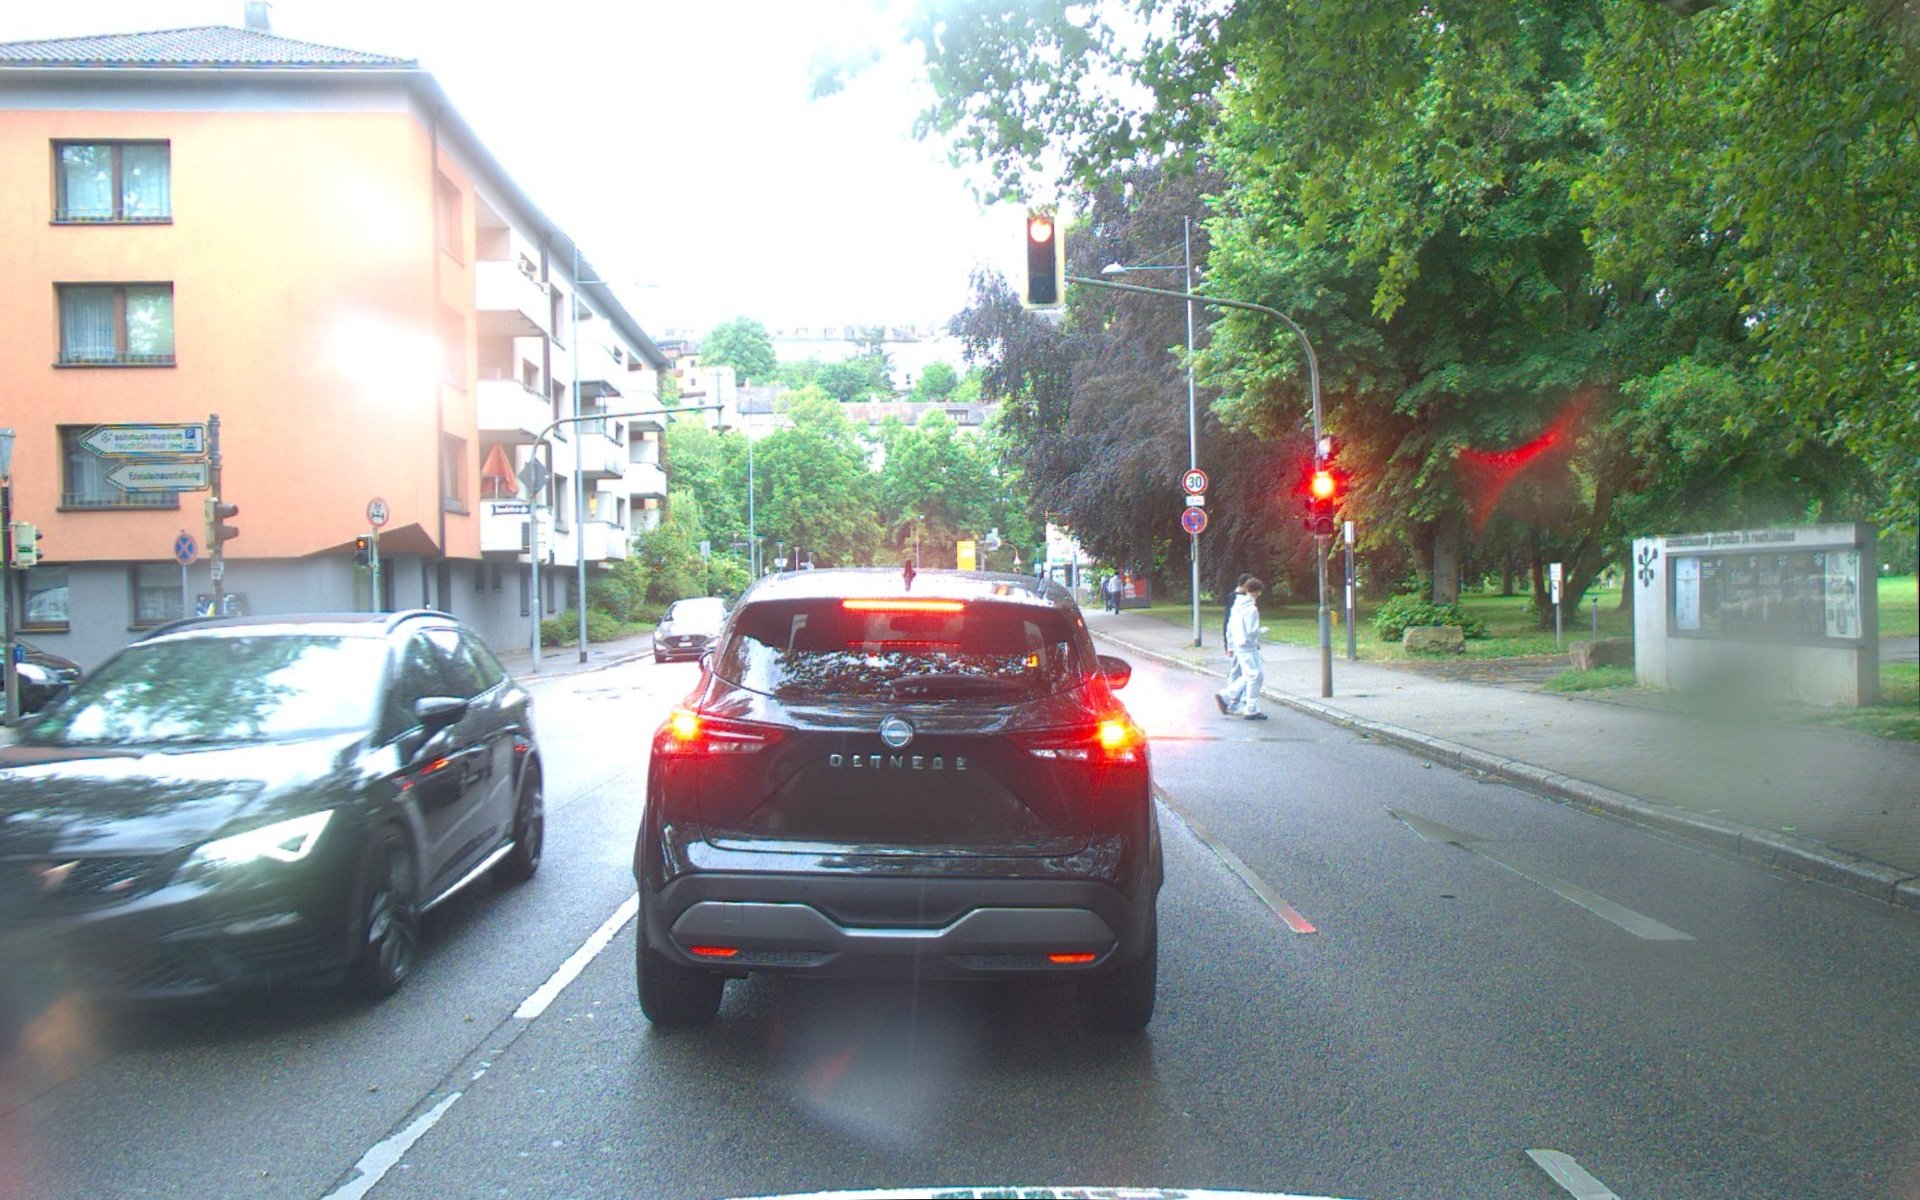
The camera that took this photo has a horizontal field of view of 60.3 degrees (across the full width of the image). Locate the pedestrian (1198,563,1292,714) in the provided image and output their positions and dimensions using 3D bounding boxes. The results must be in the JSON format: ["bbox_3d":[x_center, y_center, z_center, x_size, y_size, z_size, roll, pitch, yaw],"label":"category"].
[{"bbox_3d":[3.675,0.489,21.371,1.017,1.909,0.656,0,0,-11],"label":"pedestrian"}]

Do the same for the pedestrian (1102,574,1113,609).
[{"bbox_3d":[6.501,-0.375,72.800,0.382,1.528,0.559,-2,0,-1],"label":"pedestrian"}]

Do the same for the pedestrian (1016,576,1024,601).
[{"bbox_3d":[4.380,-0.841,121.484,0.498,1.833,0.619,-2,0,-1],"label":"pedestrian"}]

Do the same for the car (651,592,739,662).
[{"bbox_3d":[-6.468,0.628,40.742,1.760,1.560,3.864,-2,0,-4],"label":"car"}]

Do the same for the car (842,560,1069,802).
[{"bbox_3d":[-0.056,0.599,14.348,1.664,1.776,3.640,-2,0,-1],"label":"car"}]

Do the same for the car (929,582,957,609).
[{"bbox_3d":[-1.005,-0.275,98.626,1.601,1.559,3.967,-2,0,-1],"label":"car"}]

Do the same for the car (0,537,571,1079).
[{"bbox_3d":[-3.047,0.650,7.218,1.808,1.654,4.136,-2,0,-2],"label":"car"}]

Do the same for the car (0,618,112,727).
[{"bbox_3d":[-15.421,1.148,25.436,3.777,1.560,1.801,-2,0,-2],"label":"car"}]

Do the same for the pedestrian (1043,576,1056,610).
[{"bbox_3d":[4.889,-0.406,90.497,0.604,1.833,0.510,-2,0,5],"label":"pedestrian"}]

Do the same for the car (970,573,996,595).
[{"bbox_3d":[2.011,-1.381,144.056,1.952,1.765,4.002,1,0,4],"label":"car"}]

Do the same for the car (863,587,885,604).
[{"bbox_3d":[-8.359,-0.429,160.231,1.930,1.559,3.967,-2,0,-1],"label":"car"}]

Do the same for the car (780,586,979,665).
[{"bbox_3d":[-1.581,0.489,34.316,1.793,1.428,4.639,-2,0,32],"label":"car"}]

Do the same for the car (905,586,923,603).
[{"bbox_3d":[-4.328,-0.544,155.036,1.601,1.559,3.967,-2,0,-1],"label":"car"}]

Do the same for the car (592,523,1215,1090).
[{"bbox_3d":[-0.192,0.614,7.002,1.874,1.709,3.999,0,0,-1],"label":"car"}]

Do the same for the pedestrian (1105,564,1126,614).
[{"bbox_3d":[6.400,-0.445,68.021,0.710,2.049,0.851,-2,0,-1],"label":"pedestrian"}]

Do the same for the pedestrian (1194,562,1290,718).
[{"bbox_3d":[3.509,0.484,20.617,1.017,1.909,0.656,0,0,-11],"label":"pedestrian"}]

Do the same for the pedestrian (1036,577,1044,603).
[{"bbox_3d":[5.858,-0.738,120.929,0.498,1.833,0.619,-2,0,-2],"label":"pedestrian"}]

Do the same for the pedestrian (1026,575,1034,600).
[{"bbox_3d":[5.116,-0.905,120.414,0.498,1.833,0.659,-2,0,1],"label":"pedestrian"}]

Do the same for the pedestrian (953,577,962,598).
[{"bbox_3d":[-0.197,-1.055,135.171,0.498,1.702,0.658,-2,0,27],"label":"pedestrian"}]
